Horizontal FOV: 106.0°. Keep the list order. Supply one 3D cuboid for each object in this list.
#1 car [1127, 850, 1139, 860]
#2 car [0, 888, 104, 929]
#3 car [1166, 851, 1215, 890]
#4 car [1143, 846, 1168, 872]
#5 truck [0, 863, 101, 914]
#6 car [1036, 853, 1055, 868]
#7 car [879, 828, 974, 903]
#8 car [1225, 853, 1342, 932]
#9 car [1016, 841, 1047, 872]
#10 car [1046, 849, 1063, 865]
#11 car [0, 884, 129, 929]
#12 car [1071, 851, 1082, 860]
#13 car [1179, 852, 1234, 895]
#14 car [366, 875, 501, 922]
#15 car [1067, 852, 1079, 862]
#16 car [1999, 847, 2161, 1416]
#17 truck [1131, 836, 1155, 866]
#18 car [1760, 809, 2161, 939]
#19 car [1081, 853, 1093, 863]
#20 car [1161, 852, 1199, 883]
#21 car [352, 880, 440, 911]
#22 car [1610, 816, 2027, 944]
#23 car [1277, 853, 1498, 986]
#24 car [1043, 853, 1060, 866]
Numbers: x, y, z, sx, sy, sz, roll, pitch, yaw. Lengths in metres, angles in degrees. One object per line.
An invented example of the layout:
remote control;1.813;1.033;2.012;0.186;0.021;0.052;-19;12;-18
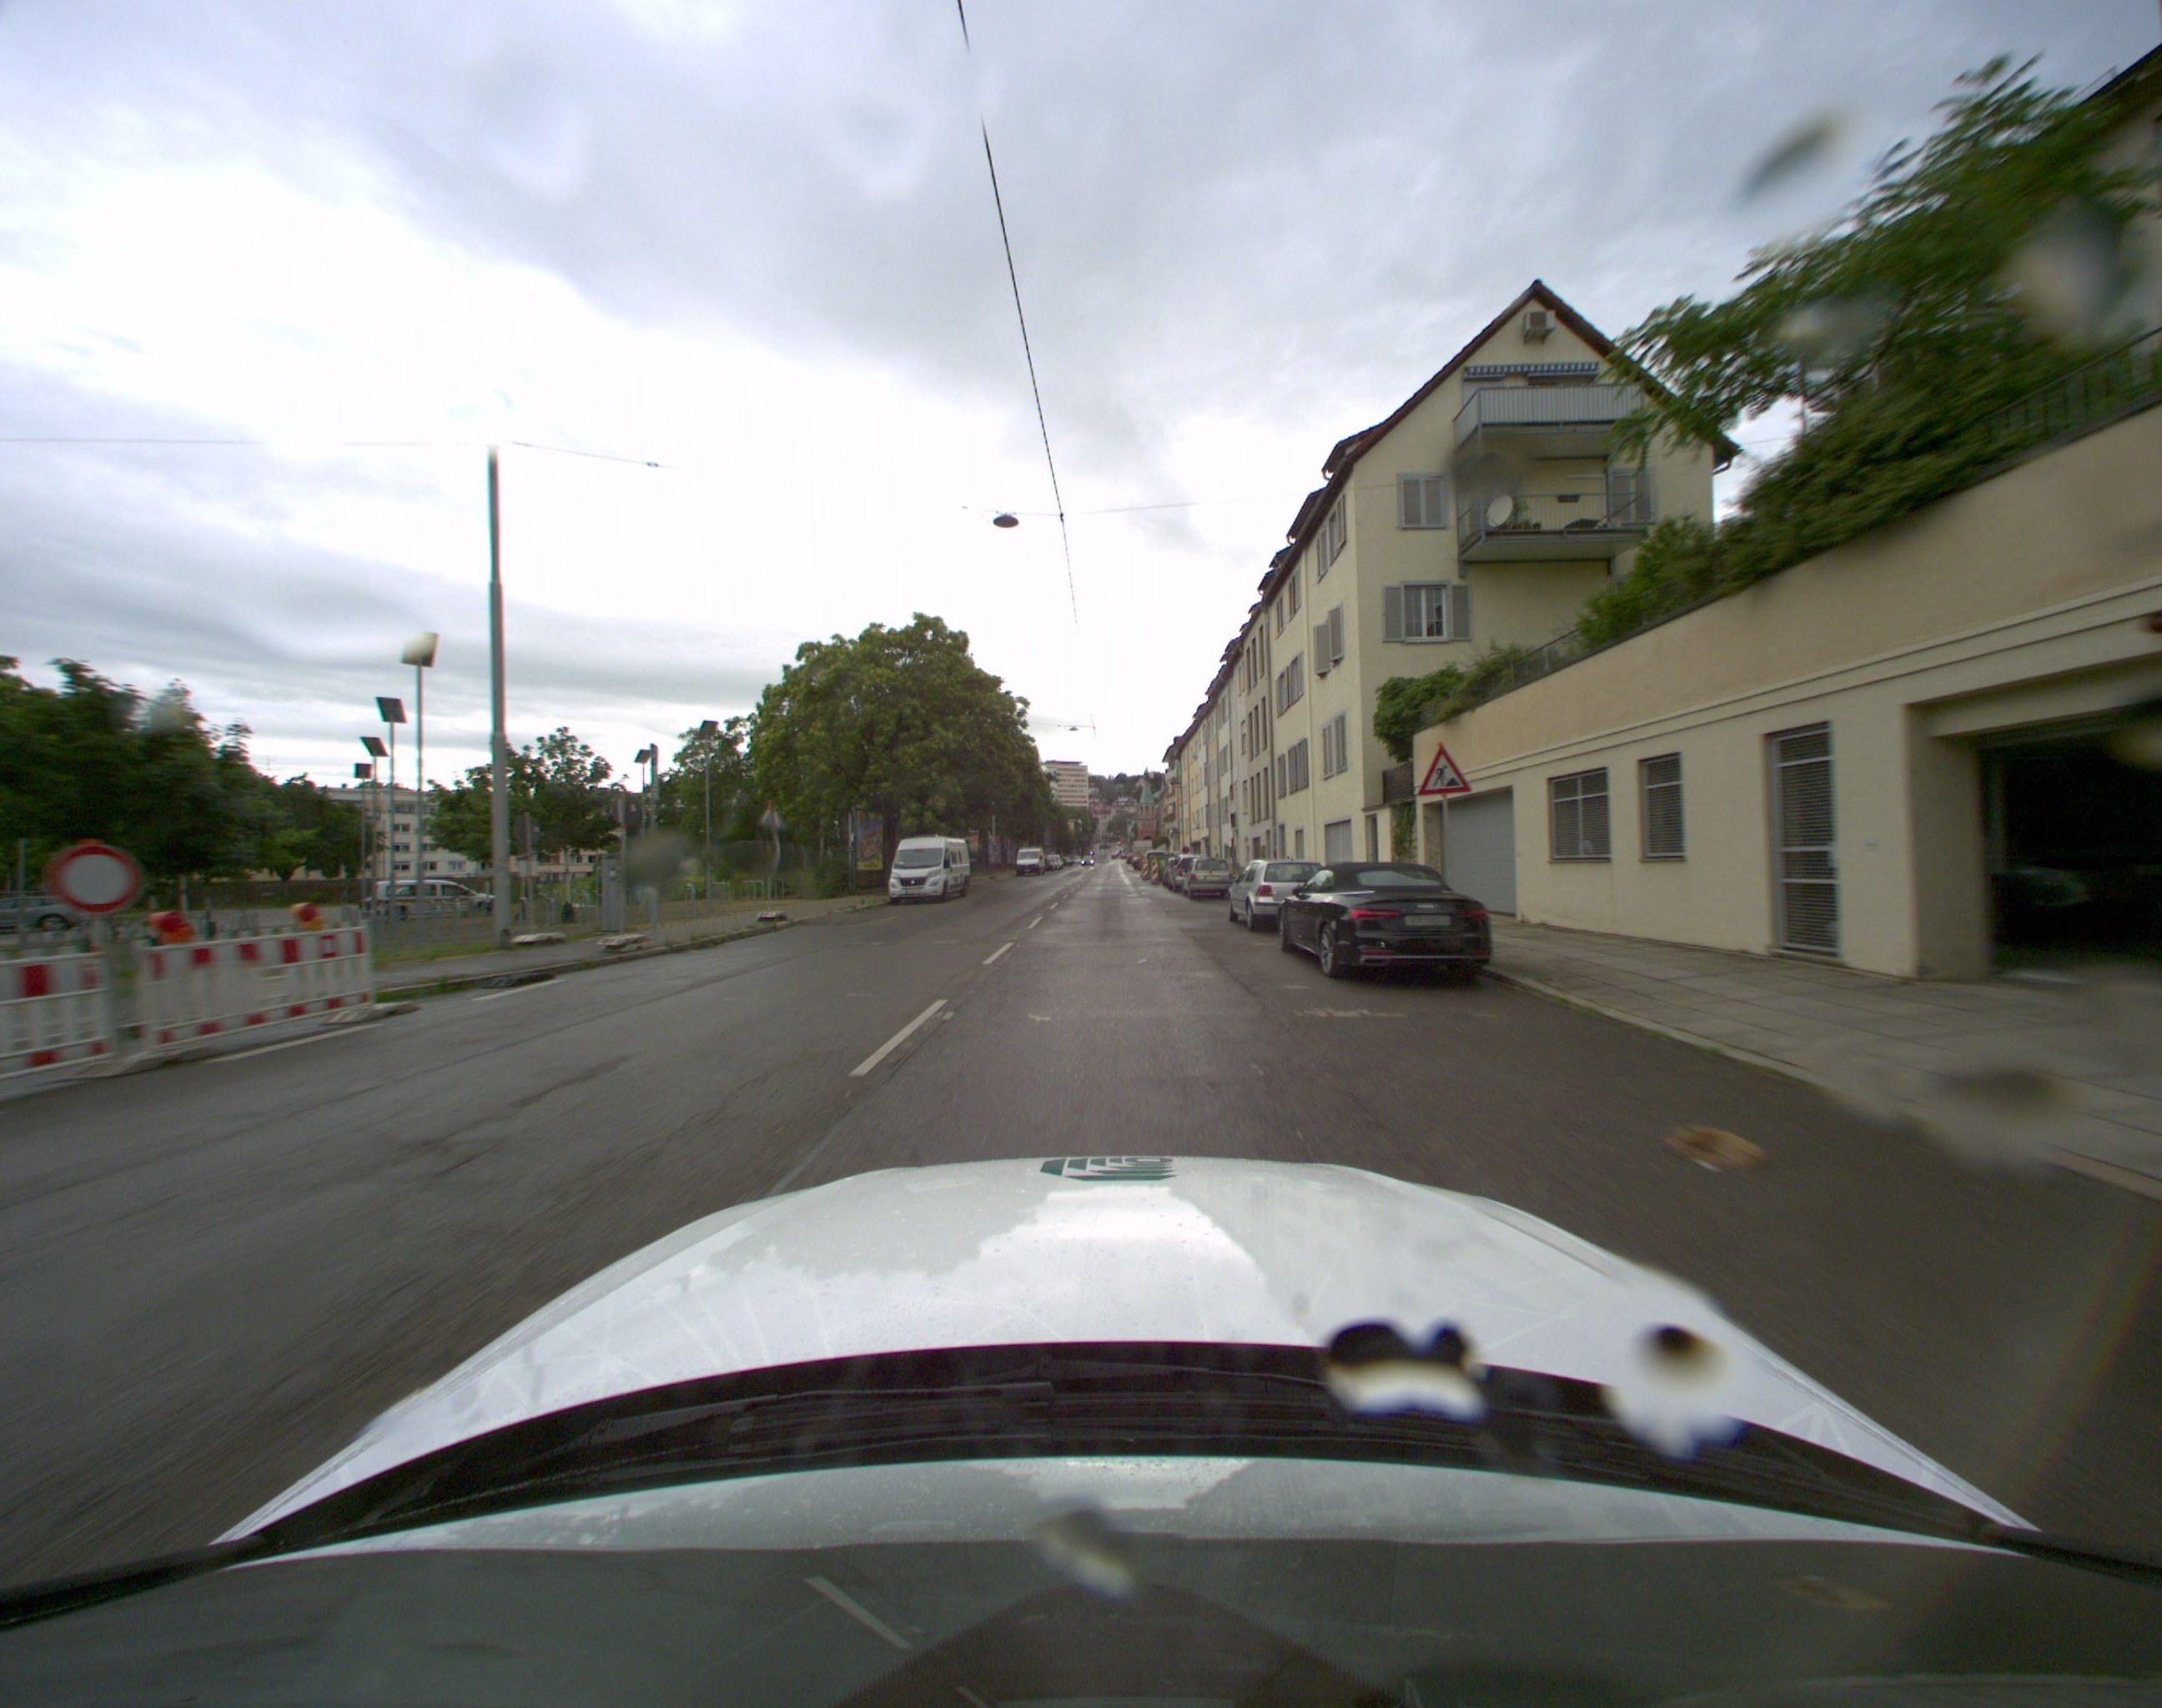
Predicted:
car;8.733;0.162;136.547;1.811;1.652;4.078;0;0;2
car;-48.796;2.563;37.313;4.934;1.625;2.099;-3;-2;-44
car;4.683;0.664;35.201;1.710;1.524;4.002;0;1;2
car;5.873;0.335;64.538;1.810;1.924;4.242;-2;0;3
truck;-120.309;4.024;95.375;15.506;5.143;5.644;-3;1;44
car;-3.687;0.675;85.922;1.676;1.398;3.911;-2;0;1
car;-5.927;0.383;32.179;2.222;2.578;6.539;-3;0;1
car;4.146;0.723;17.206;1.623;1.453;3.761;0;1;2
car;-4.250;0.190;70.988;2.003;2.487;5.988;-2;0;3
car;-3.237;0.383;98.525;1.717;1.800;4.345;-2;0;2
car;-53.533;2.748;42.990;4.023;2.052;1.778;-3;-2;-44
car;-0.824;0.335;142.422;1.703;1.450;4.295;-2;0;1
car;4.562;0.678;30.014;1.553;1.453;3.761;0;1;2
car;-30.445;2.037;38.383;1.975;1.834;4.721;-2;0;44
car;-1.283;0.494;127.135;1.797;1.450;4.657;-2;0;0
car;3.558;0.735;0.334;1.682;1.453;4.237;0;1;2
truck;6.841;-0.351;90.555;2.459;3.172;7.041;-1;0;3
car;11.859;0.211;10.981;1.880;1.401;4.202;-1;0;-1
car;0.851;0.513;119.344;1.799;1.415;4.383;-1;0;0
car;4.931;0.649;40.809;1.620;1.411;3.844;0;1;3
car;-42.721;2.530;50.842;1.777;1.625;4.024;-2;0;44
car;9.556;0.285;11.135;1.880;1.401;4.202;-1;0;-1
car;3.806;0.712;10.798;1.623;1.454;3.761;0;0;2
car;-3.340;0.629;93.251;1.676;1.462;4.278;-2;0;1
